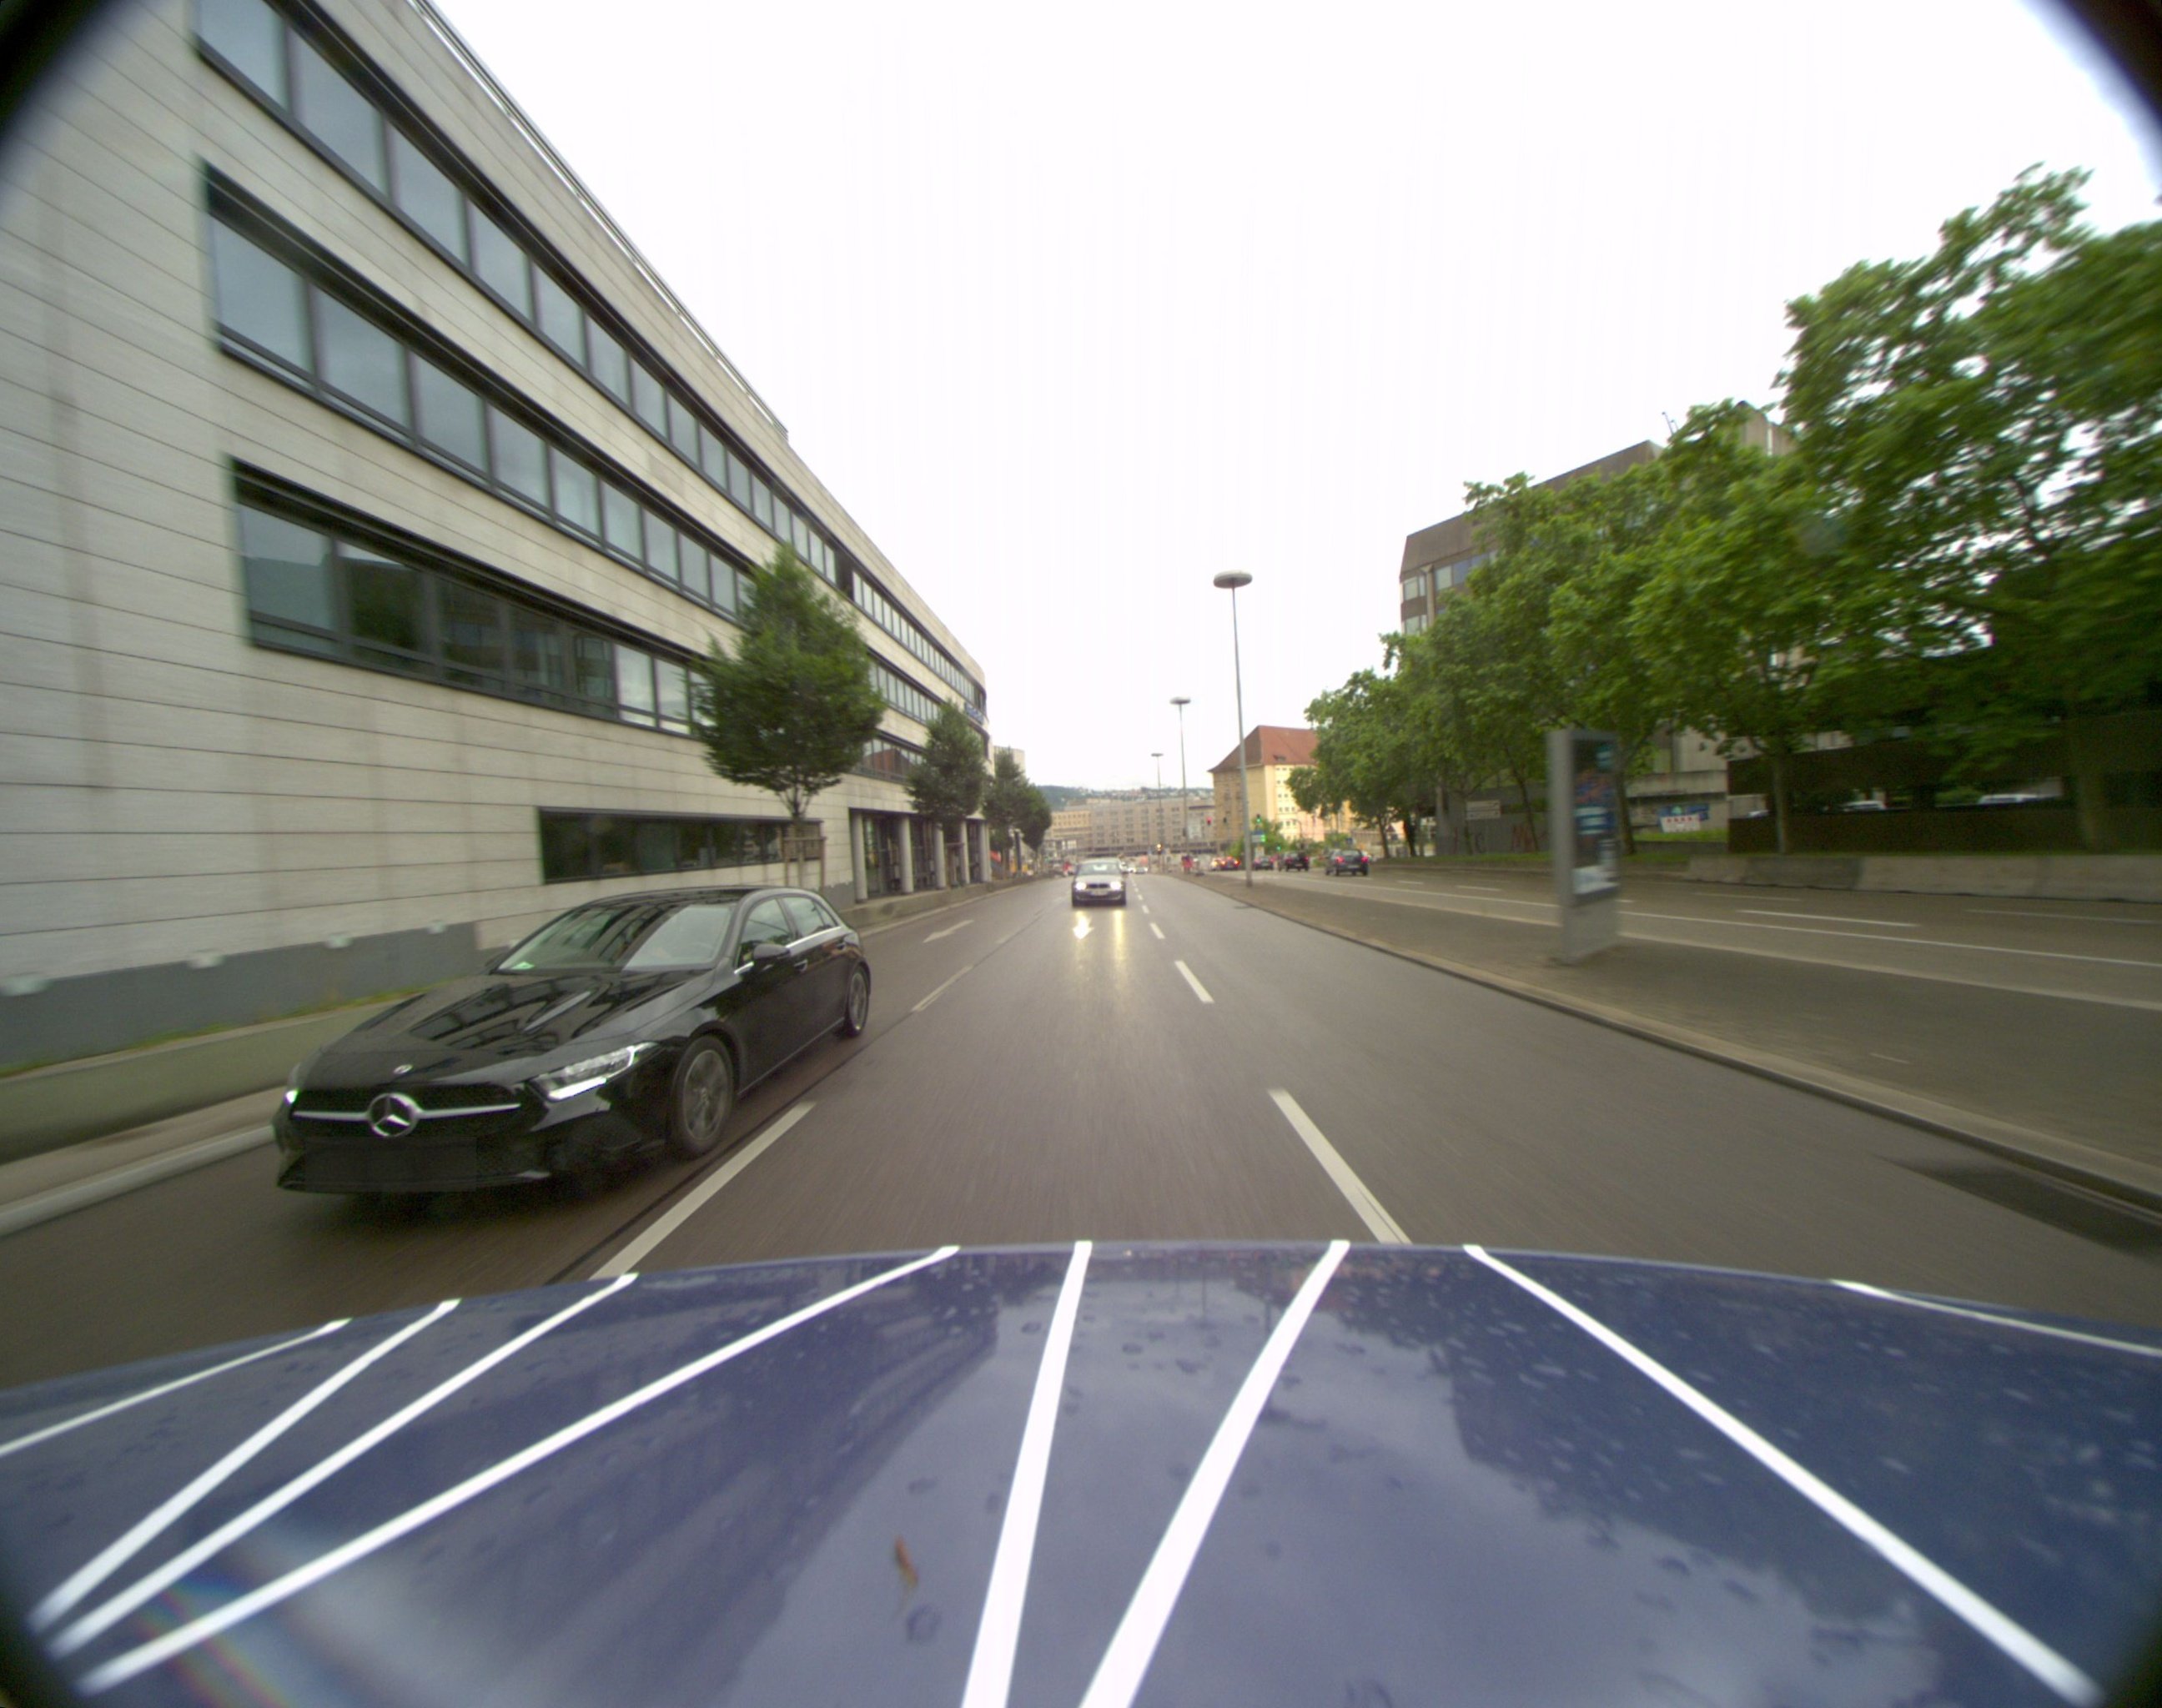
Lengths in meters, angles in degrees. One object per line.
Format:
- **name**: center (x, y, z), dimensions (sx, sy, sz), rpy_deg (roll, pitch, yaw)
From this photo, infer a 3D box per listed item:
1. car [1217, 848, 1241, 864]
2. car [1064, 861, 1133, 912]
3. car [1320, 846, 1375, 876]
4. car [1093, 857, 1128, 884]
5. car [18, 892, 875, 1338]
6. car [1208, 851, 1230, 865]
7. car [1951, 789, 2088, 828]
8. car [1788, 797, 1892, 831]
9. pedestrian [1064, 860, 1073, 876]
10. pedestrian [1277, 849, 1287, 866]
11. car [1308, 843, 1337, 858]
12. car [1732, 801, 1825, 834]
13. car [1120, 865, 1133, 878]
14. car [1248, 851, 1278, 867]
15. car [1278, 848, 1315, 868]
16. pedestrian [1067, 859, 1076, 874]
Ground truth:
- **car**: center (14.789, 0.202, 76.180), dimensions (1.798, 1.477, 3.864), rpy_deg (-2, 0, 3)
- **car**: center (0.637, 0.961, 23.985), dimensions (1.862, 1.428, 4.207), rpy_deg (-2, -1, 5)
- **car**: center (14.552, 0.376, 41.689), dimensions (1.937, 1.491, 4.175), rpy_deg (-2, -1, 7)
- **car**: center (1.740, 0.897, 43.765), dimensions (1.863, 1.449, 4.206), rpy_deg (-1, 0, 3)
- **car**: center (-2.973, 1.097, 4.951), dimensions (1.877, 1.428, 4.206), rpy_deg (-2, 0, 3)
- **car**: center (15.041, 0.408, 82.792), dimensions (1.798, 1.477, 3.864), rpy_deg (-2, 0, 3)
- **car**: center (47.294, -2.240, 38.437), dimensions (1.999, 1.707, 3.999), rpy_deg (-2, 0, 0)
- **car**: center (45.588, -2.372, 45.756), dimensions (3.990, 1.707, 2.003), rpy_deg (-2, 0, 28)
- **pedestrian**: center (-1.567, 1.709, 93.990), dimensions (0.992, 1.936, 0.767), rpy_deg (-2, 1, 5)
- **pedestrian**: center (24.012, 0.473, 90.848), dimensions (0.812, 2.002, 0.662), rpy_deg (-2, 1, -27)
- **car**: center (26.524, -0.348, 83.515), dimensions (1.938, 1.491, 4.507), rpy_deg (-2, 0, 3)
- **car**: center (41.495, -2.145, 45.227), dimensions (3.989, 1.707, 2.004), rpy_deg (-2, 1, 45)
- **car**: center (7.884, 3.039, 132.127), dimensions (1.998, 2.002, 4.001), rpy_deg (-2, 0, 5)
- **car**: center (17.192, 0.473, 71.868), dimensions (1.938, 1.428, 4.507), rpy_deg (-2, 0, 3)
- **car**: center (16.486, 0.320, 58.350), dimensions (1.938, 1.428, 4.077), rpy_deg (-2, 0, 5)
- **pedestrian**: center (-1.198, 1.567, 95.033), dimensions (0.765, 1.936, 0.995), rpy_deg (-2, 1, 22)
